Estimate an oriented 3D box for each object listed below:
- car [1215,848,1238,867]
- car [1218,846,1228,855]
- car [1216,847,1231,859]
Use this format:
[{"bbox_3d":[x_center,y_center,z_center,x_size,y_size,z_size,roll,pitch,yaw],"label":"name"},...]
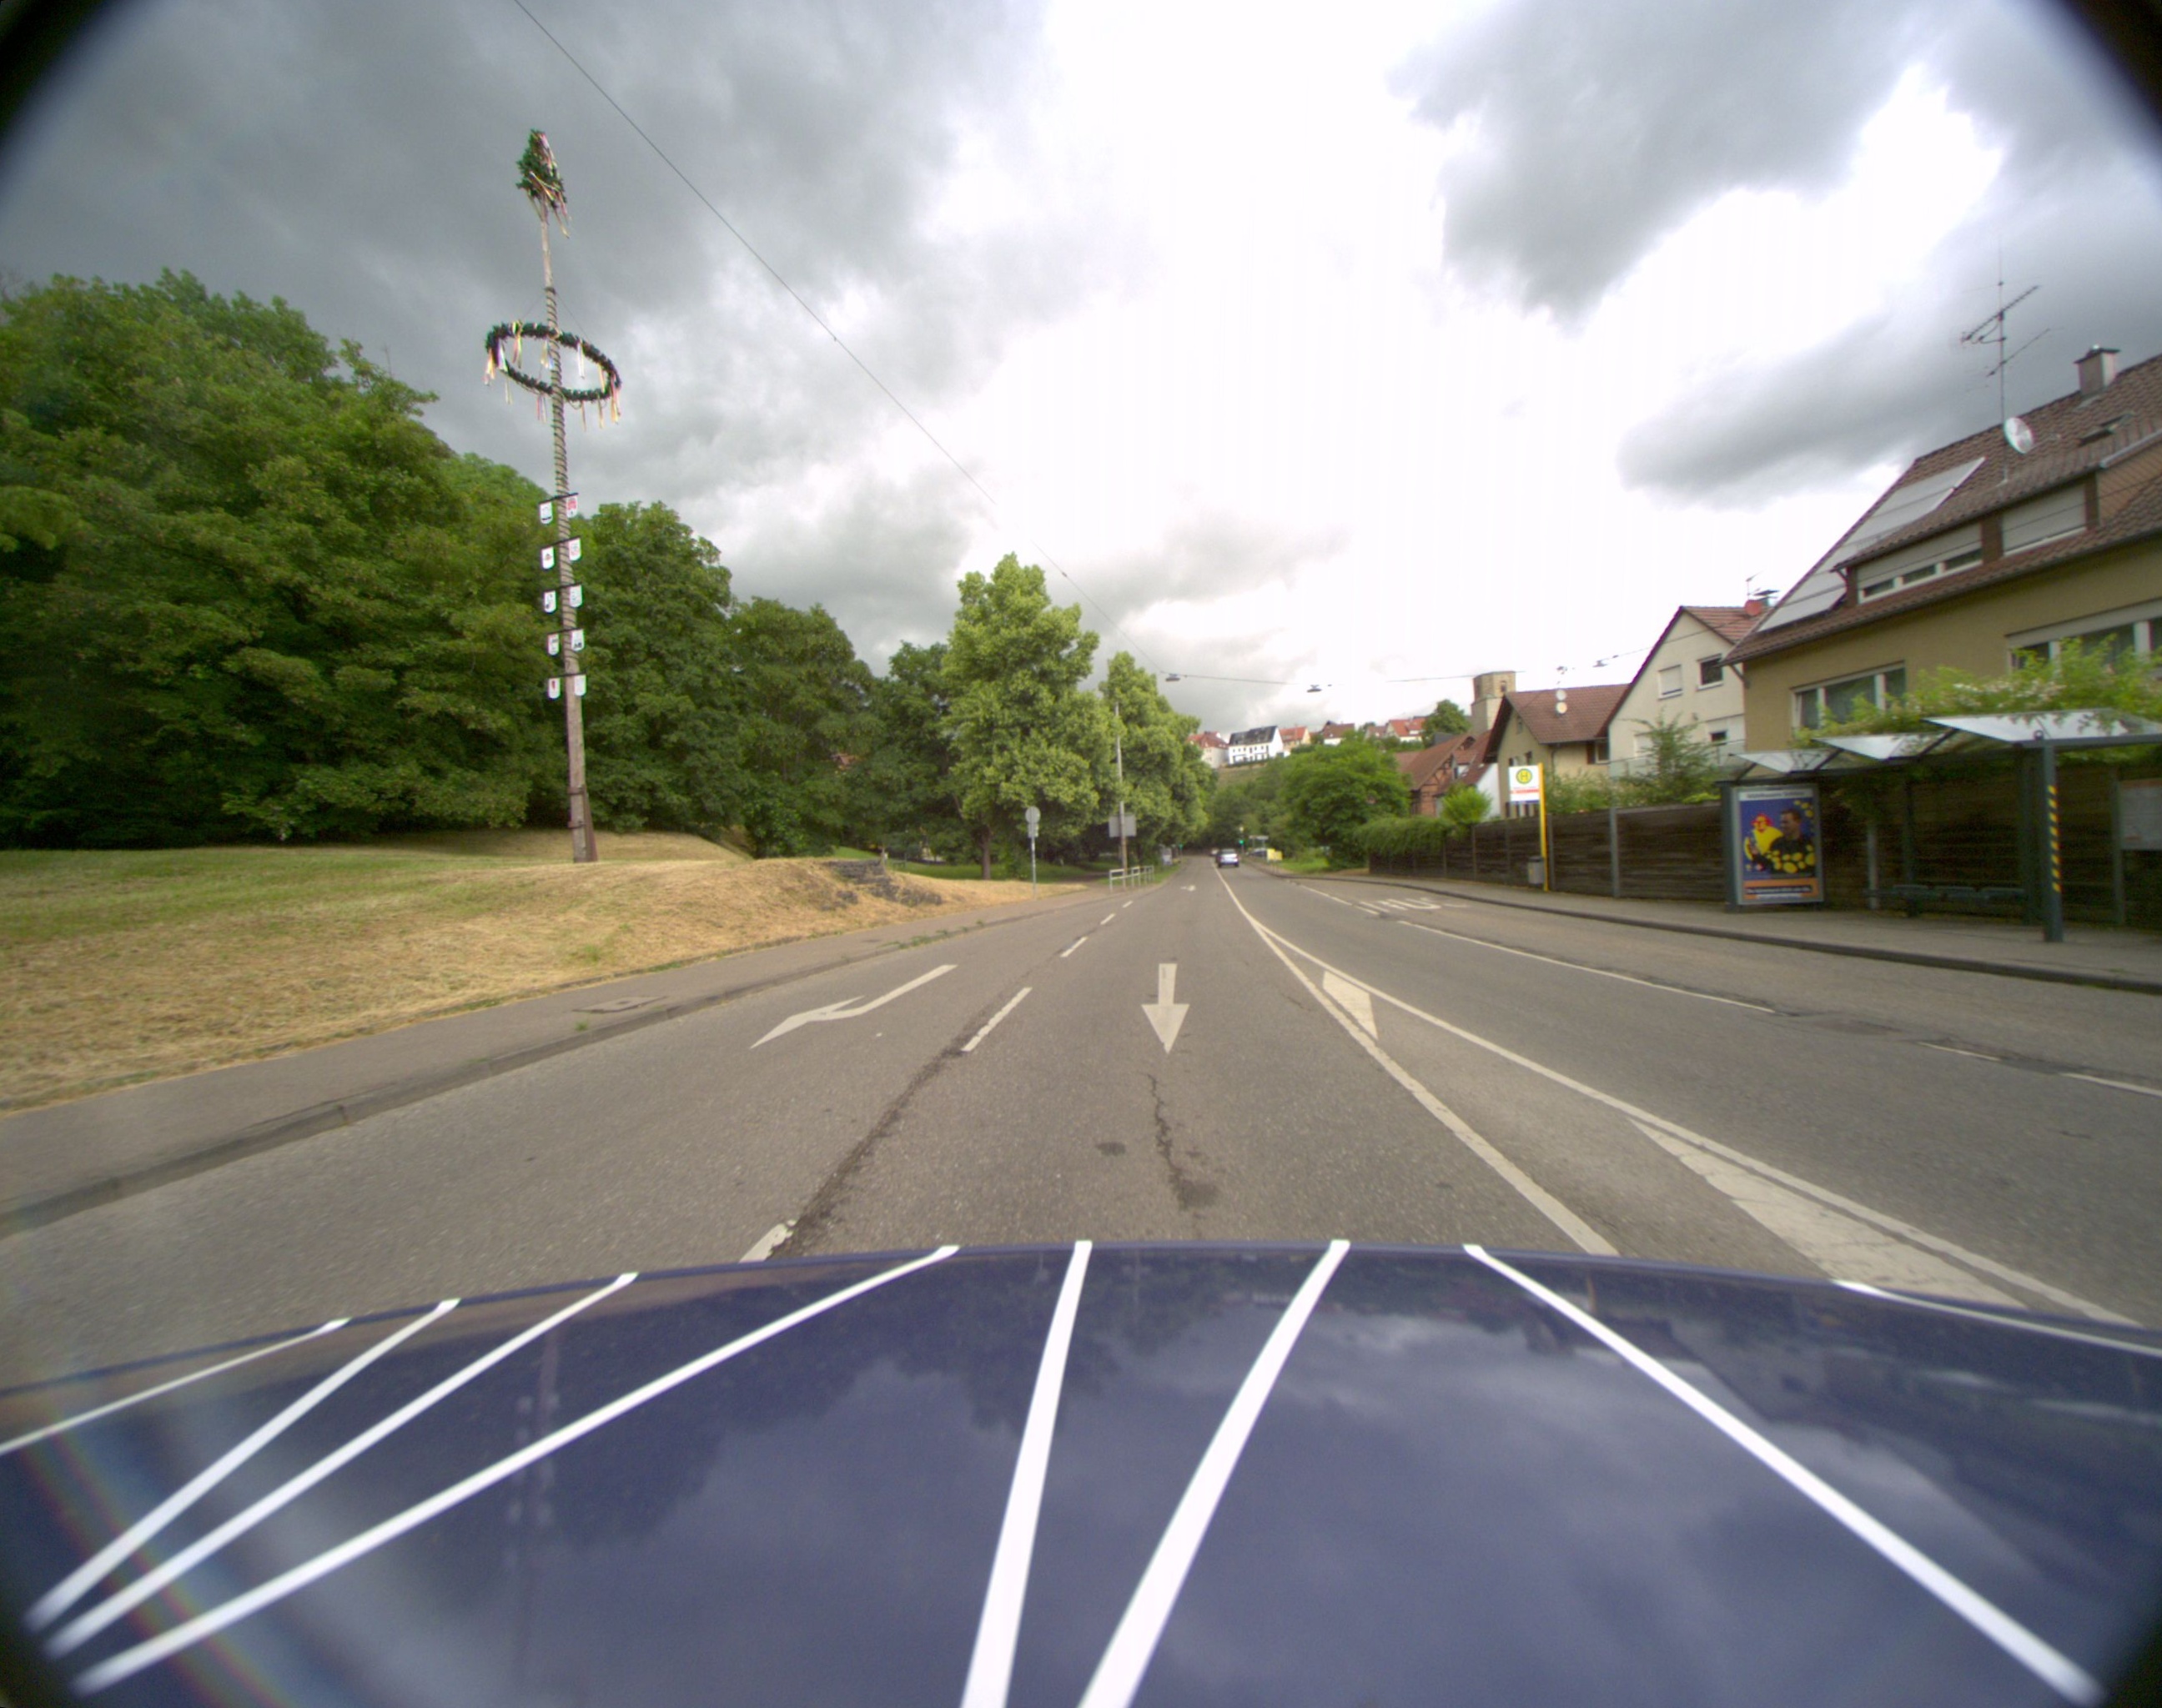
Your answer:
[{"bbox_3d":[14.181,0.320,74.121,1.939,1.714,4.695,-1,0,9],"label":"car"},{"bbox_3d":[25.952,-0.631,138.565,1.707,1.503,4.003,-1,0,10],"label":"car"},{"bbox_3d":[18.675,-0.108,99.648,1.719,1.460,4.102,-2,0,8],"label":"car"}]
